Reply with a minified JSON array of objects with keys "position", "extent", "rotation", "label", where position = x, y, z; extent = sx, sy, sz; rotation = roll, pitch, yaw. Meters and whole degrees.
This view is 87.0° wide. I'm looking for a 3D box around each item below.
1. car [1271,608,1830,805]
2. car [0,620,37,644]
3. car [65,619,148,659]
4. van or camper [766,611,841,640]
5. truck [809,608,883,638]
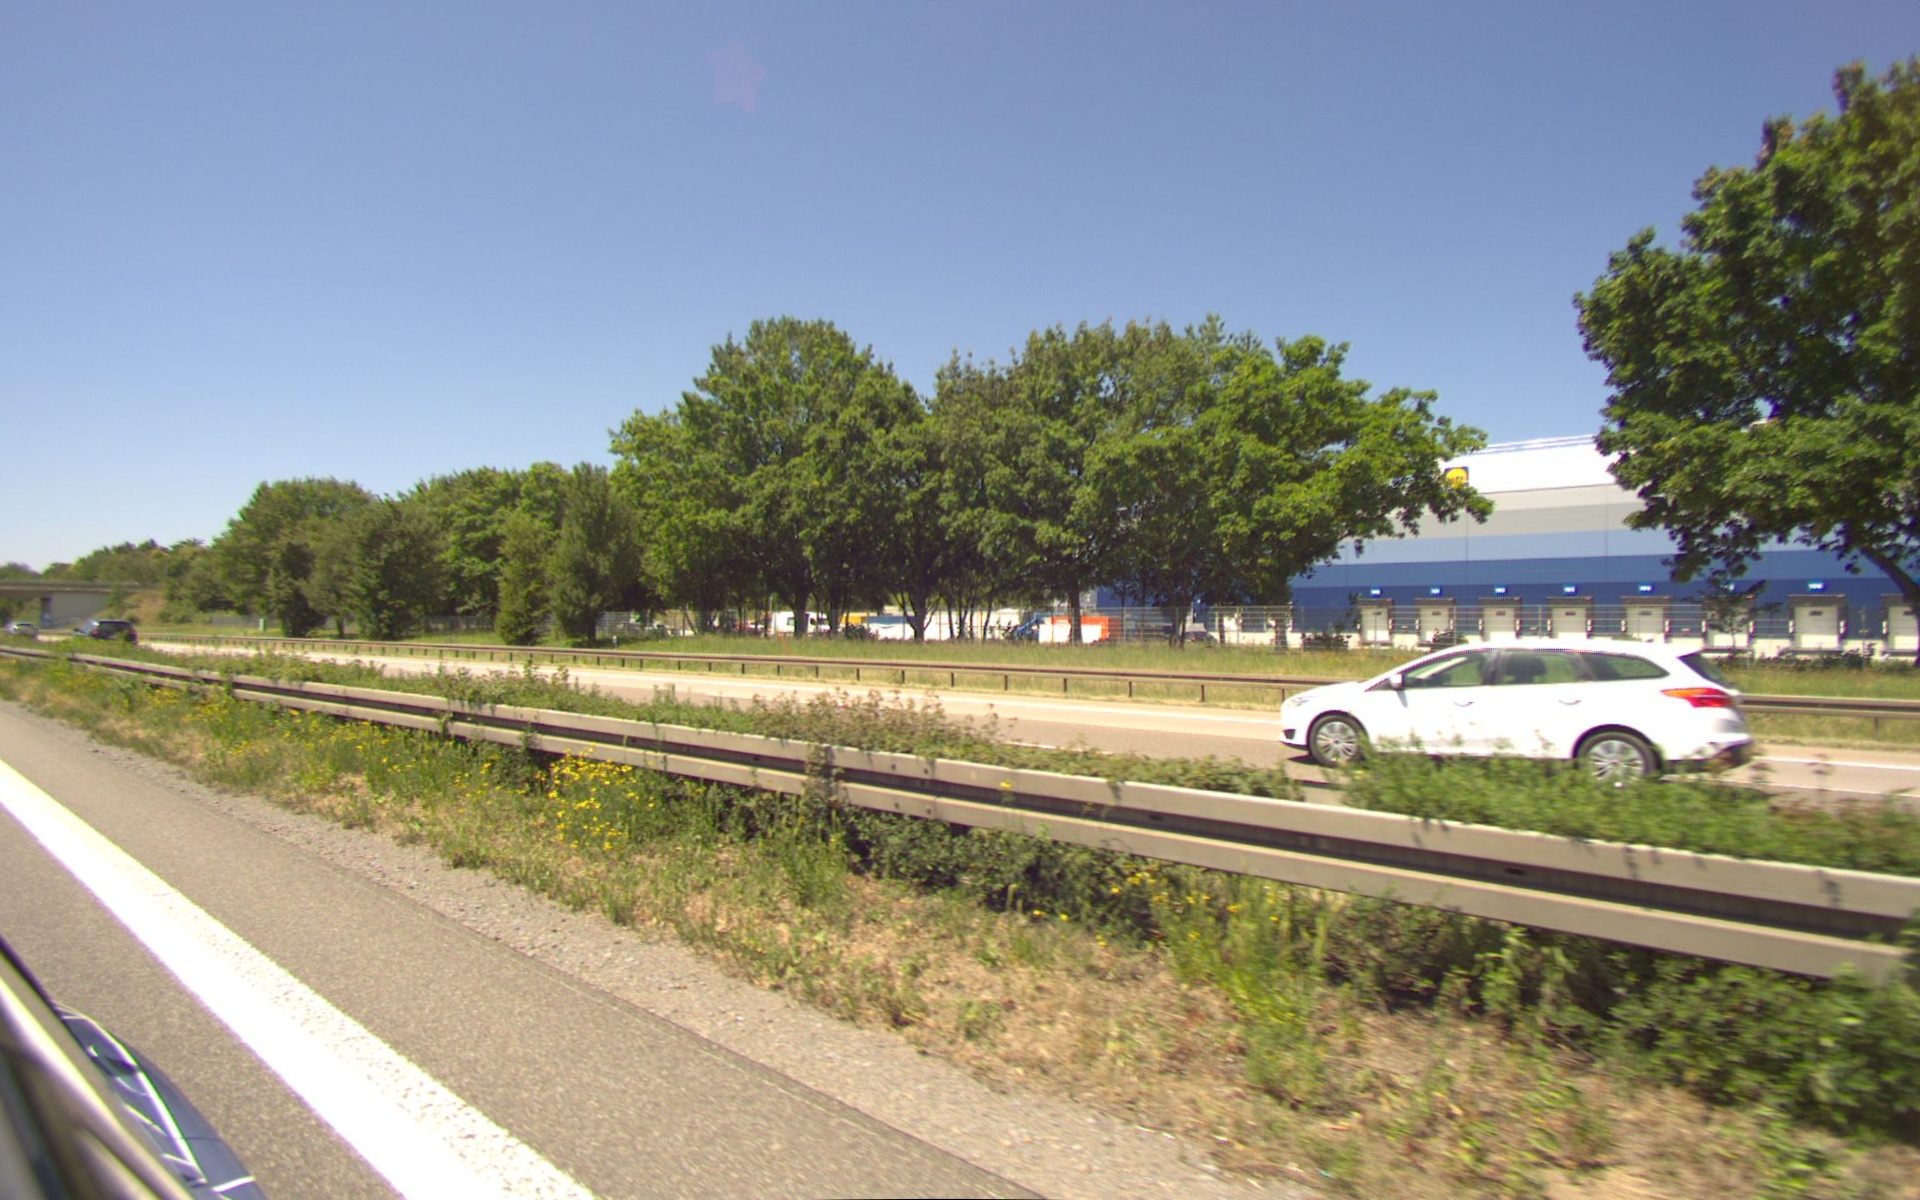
[{"position":[6.075,0.990,10.848],"extent":[4.855,1.652,1.973],"rotation":[-1,-5,40],"label":"car"},{"position":[-77.399,2.609,83.087],"extent":[4.422,1.807,1.853],"rotation":[-1,1,41],"label":"car"},{"position":[-37.812,1.708,44.789],"extent":[4.856,1.652,1.973],"rotation":[-1,-5,41],"label":"car"},{"position":[-14.617,2.369,94.089],"extent":[7.717,2.571,2.333],"rotation":[-1,-2,39],"label":"van or camper"},{"position":[-12.671,2.544,111.980],"extent":[8.291,3.216,3.512],"rotation":[-1,-3,41],"label":"truck"}]
